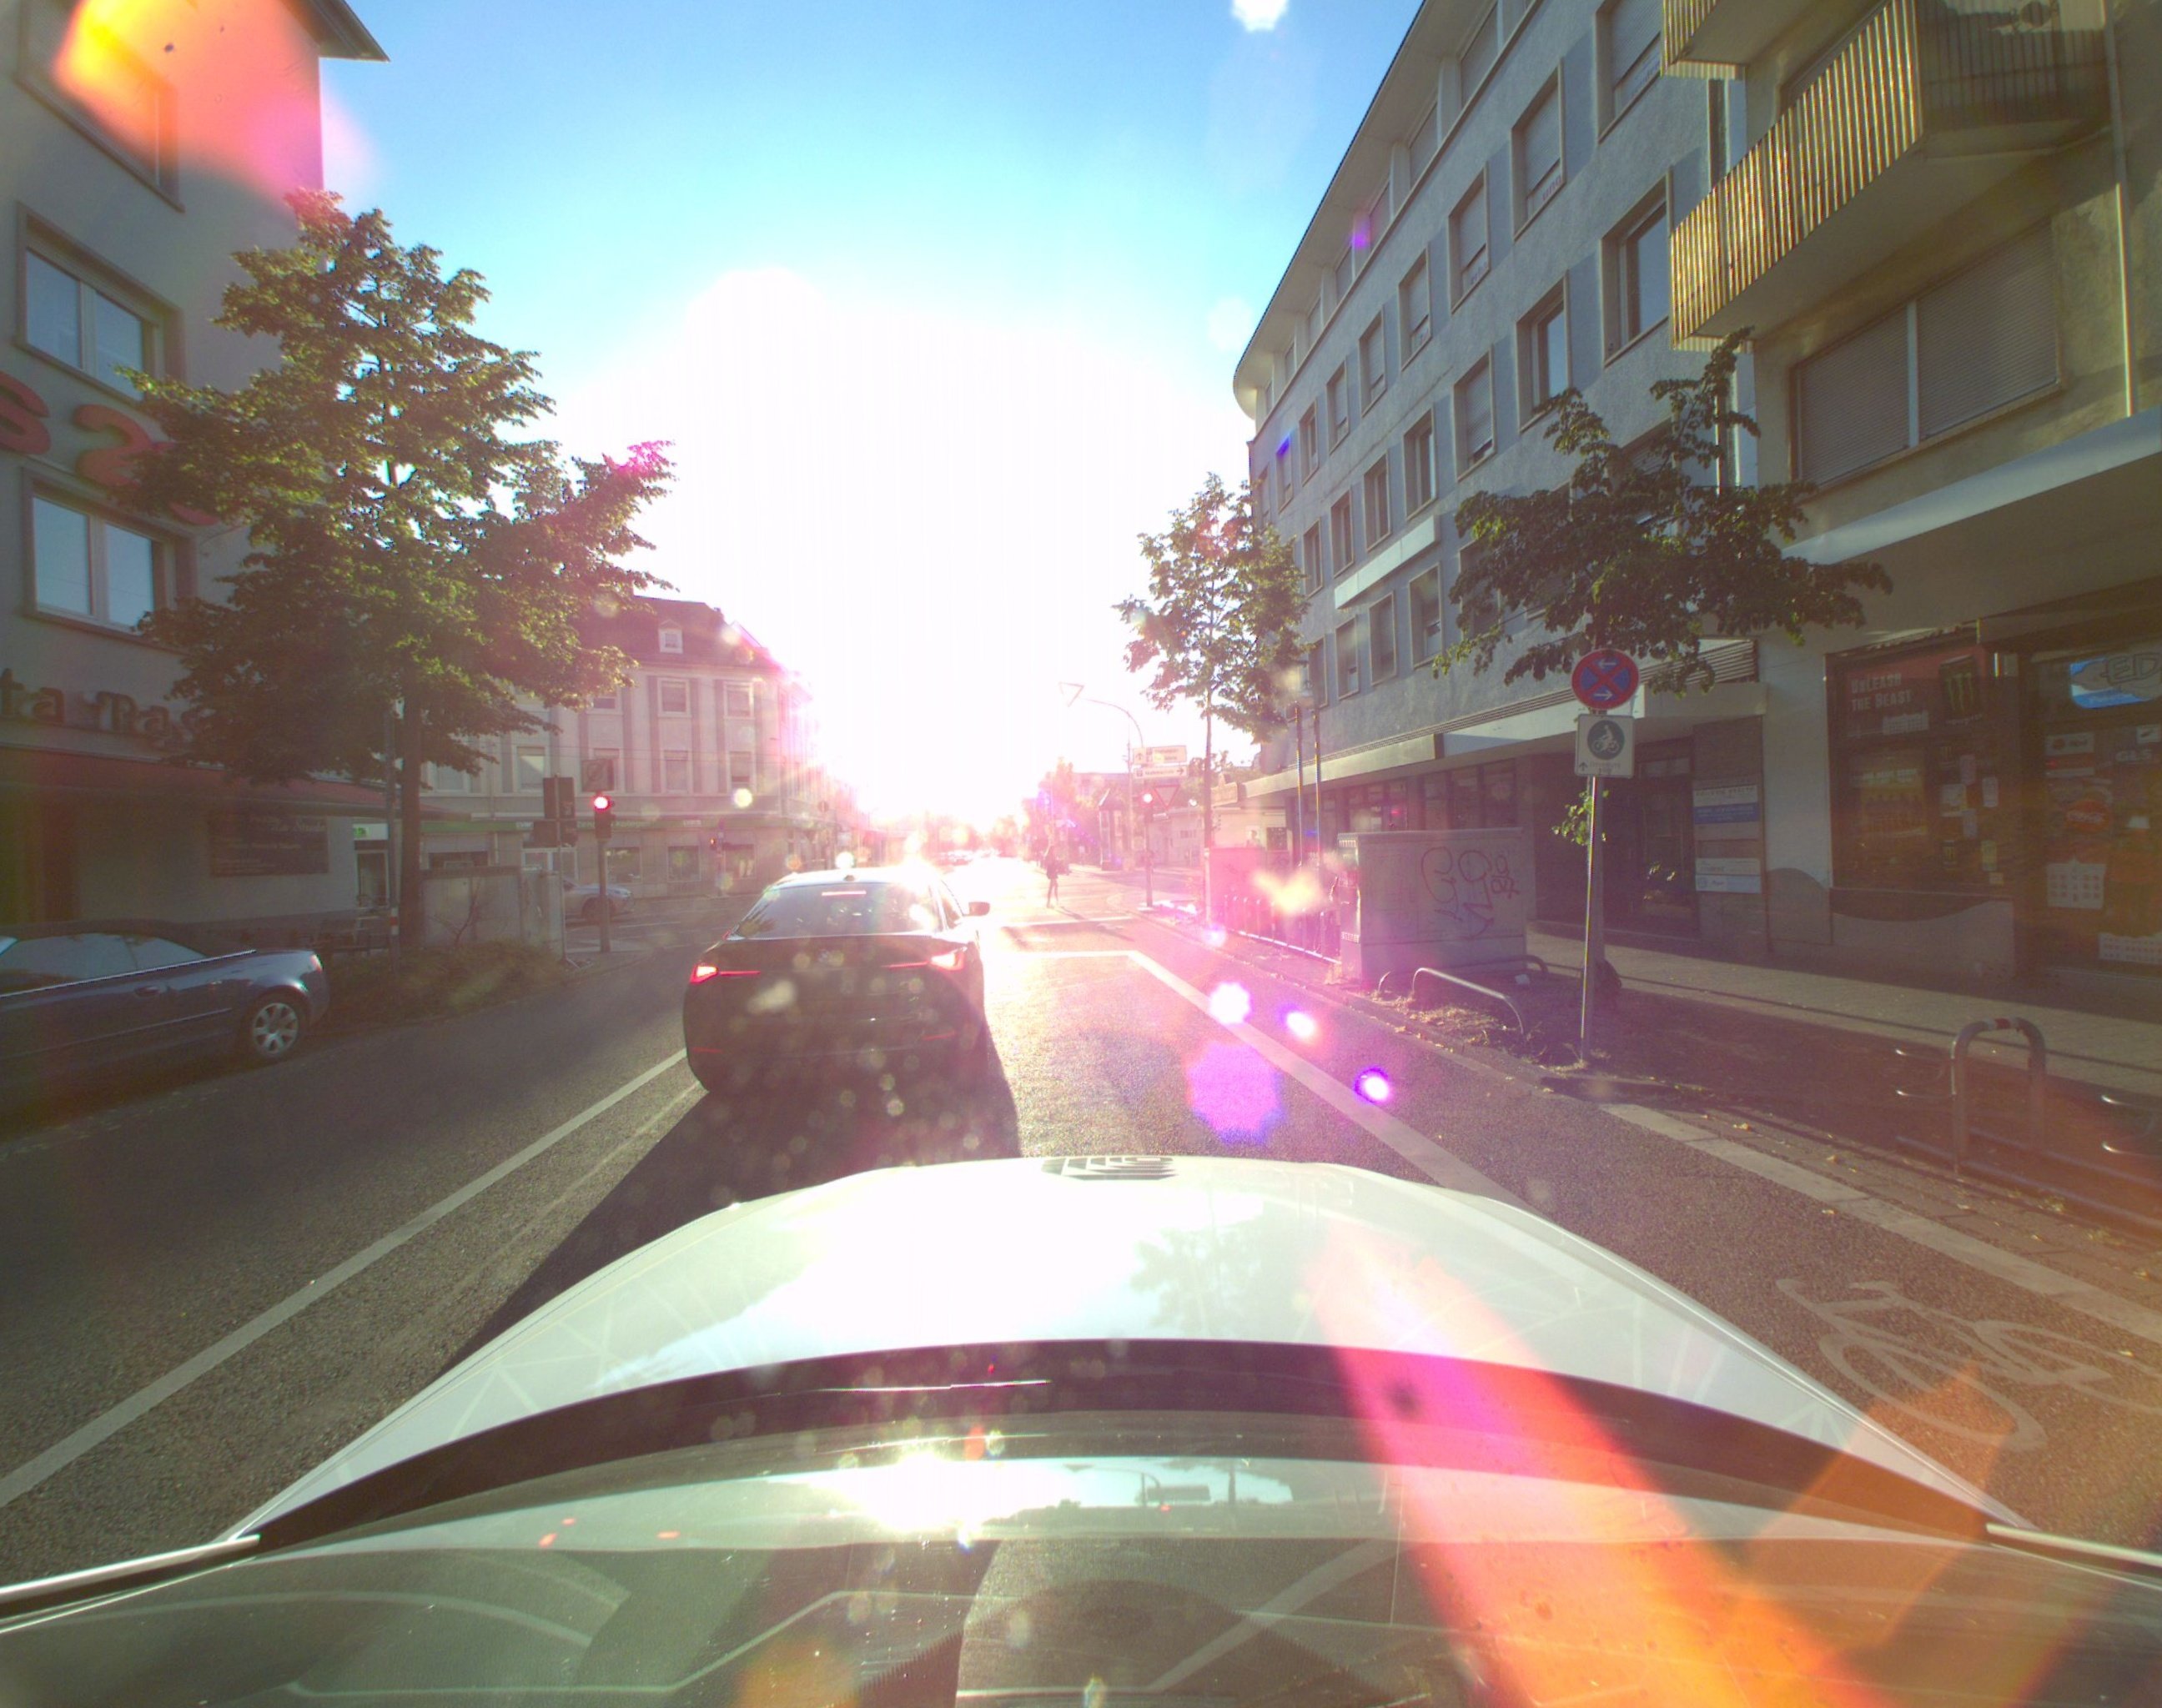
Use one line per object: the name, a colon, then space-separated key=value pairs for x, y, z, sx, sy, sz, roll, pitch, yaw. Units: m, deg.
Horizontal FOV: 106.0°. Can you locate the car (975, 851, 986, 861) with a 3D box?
car: x=-19.171 y=0.368 z=155.300 sx=1.768 sy=1.848 sz=3.995 roll=-2 pitch=0 yaw=-4

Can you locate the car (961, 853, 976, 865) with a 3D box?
car: x=-15.702 y=0.654 z=113.536 sx=1.816 sy=1.519 sz=3.992 roll=-2 pitch=0 yaw=-6

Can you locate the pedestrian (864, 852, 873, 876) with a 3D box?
pedestrian: x=-16.886 y=0.773 z=64.614 sx=0.616 sy=1.876 sz=0.676 roll=0 pitch=0 yaw=-10

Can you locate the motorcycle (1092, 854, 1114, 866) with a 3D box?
motorcycle: x=1.817 y=0.518 z=68.003 sx=1.673 sy=0.939 sz=0.851 roll=-2 pitch=0 yaw=-18

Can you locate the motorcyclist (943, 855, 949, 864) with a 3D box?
motorcyclist: x=-15.636 y=0.616 z=94.223 sx=0.574 sy=0.995 sz=0.701 roll=0 pitch=0 yaw=-6

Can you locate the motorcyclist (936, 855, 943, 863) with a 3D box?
motorcyclist: x=-16.449 y=0.622 z=94.755 sx=0.574 sy=0.915 sz=2.196 roll=0 pitch=0 yaw=-6

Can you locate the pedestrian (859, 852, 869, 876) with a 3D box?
pedestrian: x=-16.872 y=0.774 z=63.245 sx=0.642 sy=1.876 sz=0.630 roll=0 pitch=0 yaw=-7

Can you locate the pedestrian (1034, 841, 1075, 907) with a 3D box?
pedestrian: x=-0.761 y=0.551 z=23.487 sx=1.006 sy=1.860 sz=0.634 roll=0 pitch=-1 yaw=-27

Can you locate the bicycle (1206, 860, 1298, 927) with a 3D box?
bicycle: x=3.187 y=0.725 z=15.206 sx=1.610 sy=1.171 sz=0.318 roll=-2 pitch=0 yaw=-5

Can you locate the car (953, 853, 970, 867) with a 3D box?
car: x=-13.947 y=0.693 z=95.190 sx=1.816 sy=1.519 sz=3.992 roll=-2 pitch=0 yaw=-6

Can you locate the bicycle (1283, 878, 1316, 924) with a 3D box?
bicycle: x=4.132 y=0.879 z=15.428 sx=0.249 sy=0.796 sz=1.114 roll=0 pitch=0 yaw=-4

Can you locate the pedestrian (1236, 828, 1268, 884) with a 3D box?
pedestrian: x=5.784 y=0.057 z=27.540 sx=0.834 sy=1.841 sz=0.677 roll=-2 pitch=0 yaw=-6

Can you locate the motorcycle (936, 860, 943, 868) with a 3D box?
motorcycle: x=-16.445 y=1.154 z=94.732 sx=0.574 sy=0.915 sz=2.196 roll=0 pitch=0 yaw=-6

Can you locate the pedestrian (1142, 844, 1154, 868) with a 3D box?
pedestrian: x=4.410 y=0.125 z=53.854 sx=0.728 sy=1.529 sz=0.474 roll=0 pitch=0 yaw=8

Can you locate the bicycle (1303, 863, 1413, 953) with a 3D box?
bicycle: x=3.885 y=0.748 z=11.449 sx=1.438 sy=1.220 sz=0.383 roll=0 pitch=0 yaw=-5

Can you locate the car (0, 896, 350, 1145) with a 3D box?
car: x=-7.636 y=1.156 z=5.544 sx=1.721 sy=1.415 sz=4.270 roll=-4 pitch=0 yaw=-7

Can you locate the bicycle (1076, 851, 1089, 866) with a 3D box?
bicycle: x=0.155 y=0.376 z=67.704 sx=0.551 sy=1.159 sz=2.133 roll=-1 pitch=-1 yaw=-14

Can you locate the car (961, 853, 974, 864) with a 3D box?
car: x=-17.327 y=0.652 z=124.121 sx=1.816 sy=1.519 sz=3.992 roll=-2 pitch=0 yaw=-6

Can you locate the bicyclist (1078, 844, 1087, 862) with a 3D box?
bicyclist: x=0.131 y=-0.097 z=67.775 sx=0.551 sy=1.481 sz=0.719 roll=-1 pitch=-1 yaw=-15

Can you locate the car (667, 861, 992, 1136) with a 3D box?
car: x=-1.641 y=0.805 z=6.649 sx=1.735 sy=1.428 sz=4.213 roll=-1 pitch=0 yaw=-7

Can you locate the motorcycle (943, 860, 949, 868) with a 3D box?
motorcycle: x=-15.650 y=1.147 z=94.320 sx=0.574 sy=0.915 sz=2.196 roll=0 pitch=0 yaw=-6

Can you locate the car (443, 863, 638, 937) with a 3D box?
car: x=-14.828 y=1.195 z=22.604 sx=4.307 sy=1.707 sz=1.787 roll=-2 pitch=1 yaw=-32
